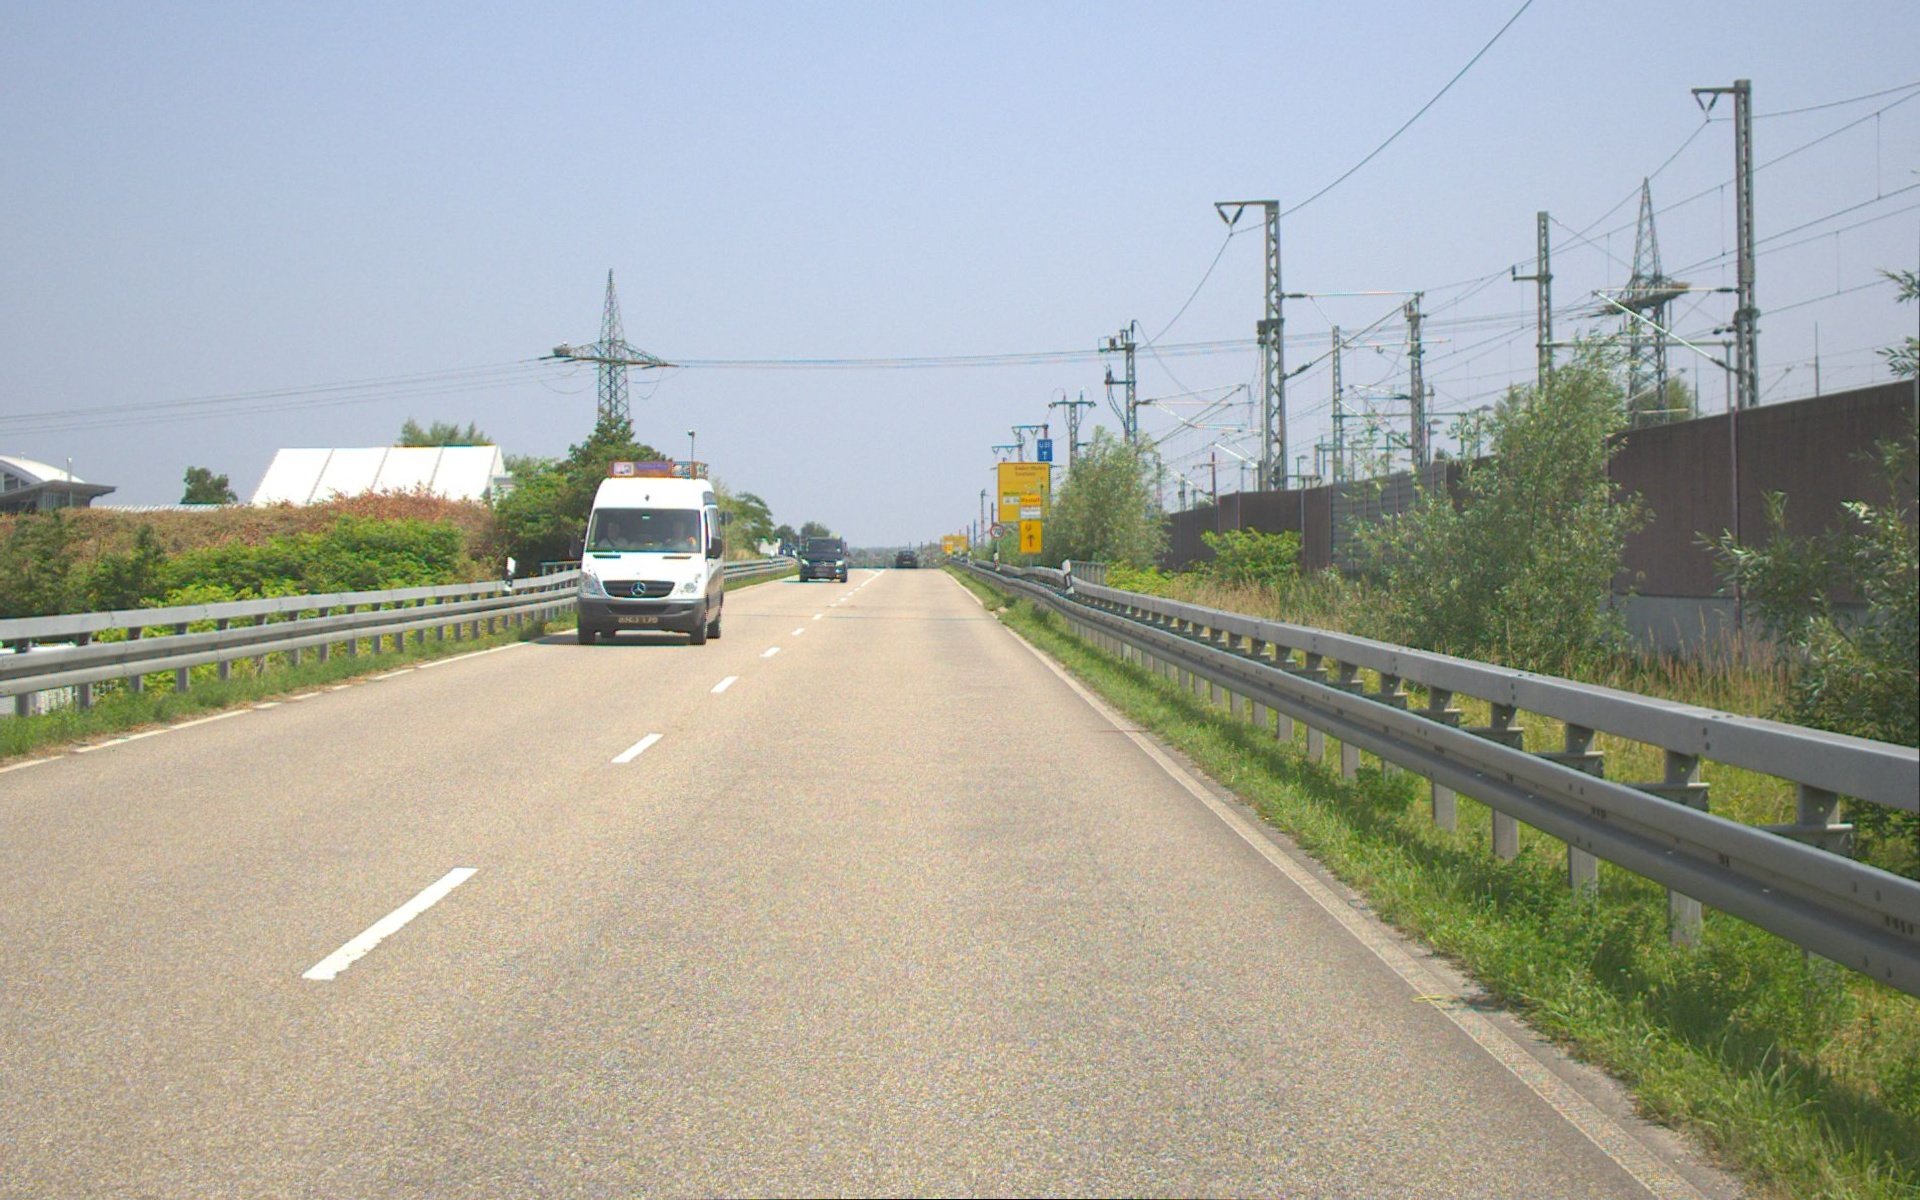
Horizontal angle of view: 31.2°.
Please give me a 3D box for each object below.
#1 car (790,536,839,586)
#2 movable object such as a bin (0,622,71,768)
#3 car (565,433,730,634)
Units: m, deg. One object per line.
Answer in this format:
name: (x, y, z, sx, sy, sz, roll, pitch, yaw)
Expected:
car: (-6.048, -1.640, 143.595, 1.893, 2.007, 5.370, 1, 1, -1)
movable object such as a bin: (-16.250, 1.513, 50.270, 5.894, 2.012, 2.450, -3, 1, -6)
car: (-4.877, -1.038, 54.623, 2.079, 2.952, 6.730, 1, 1, -1)
